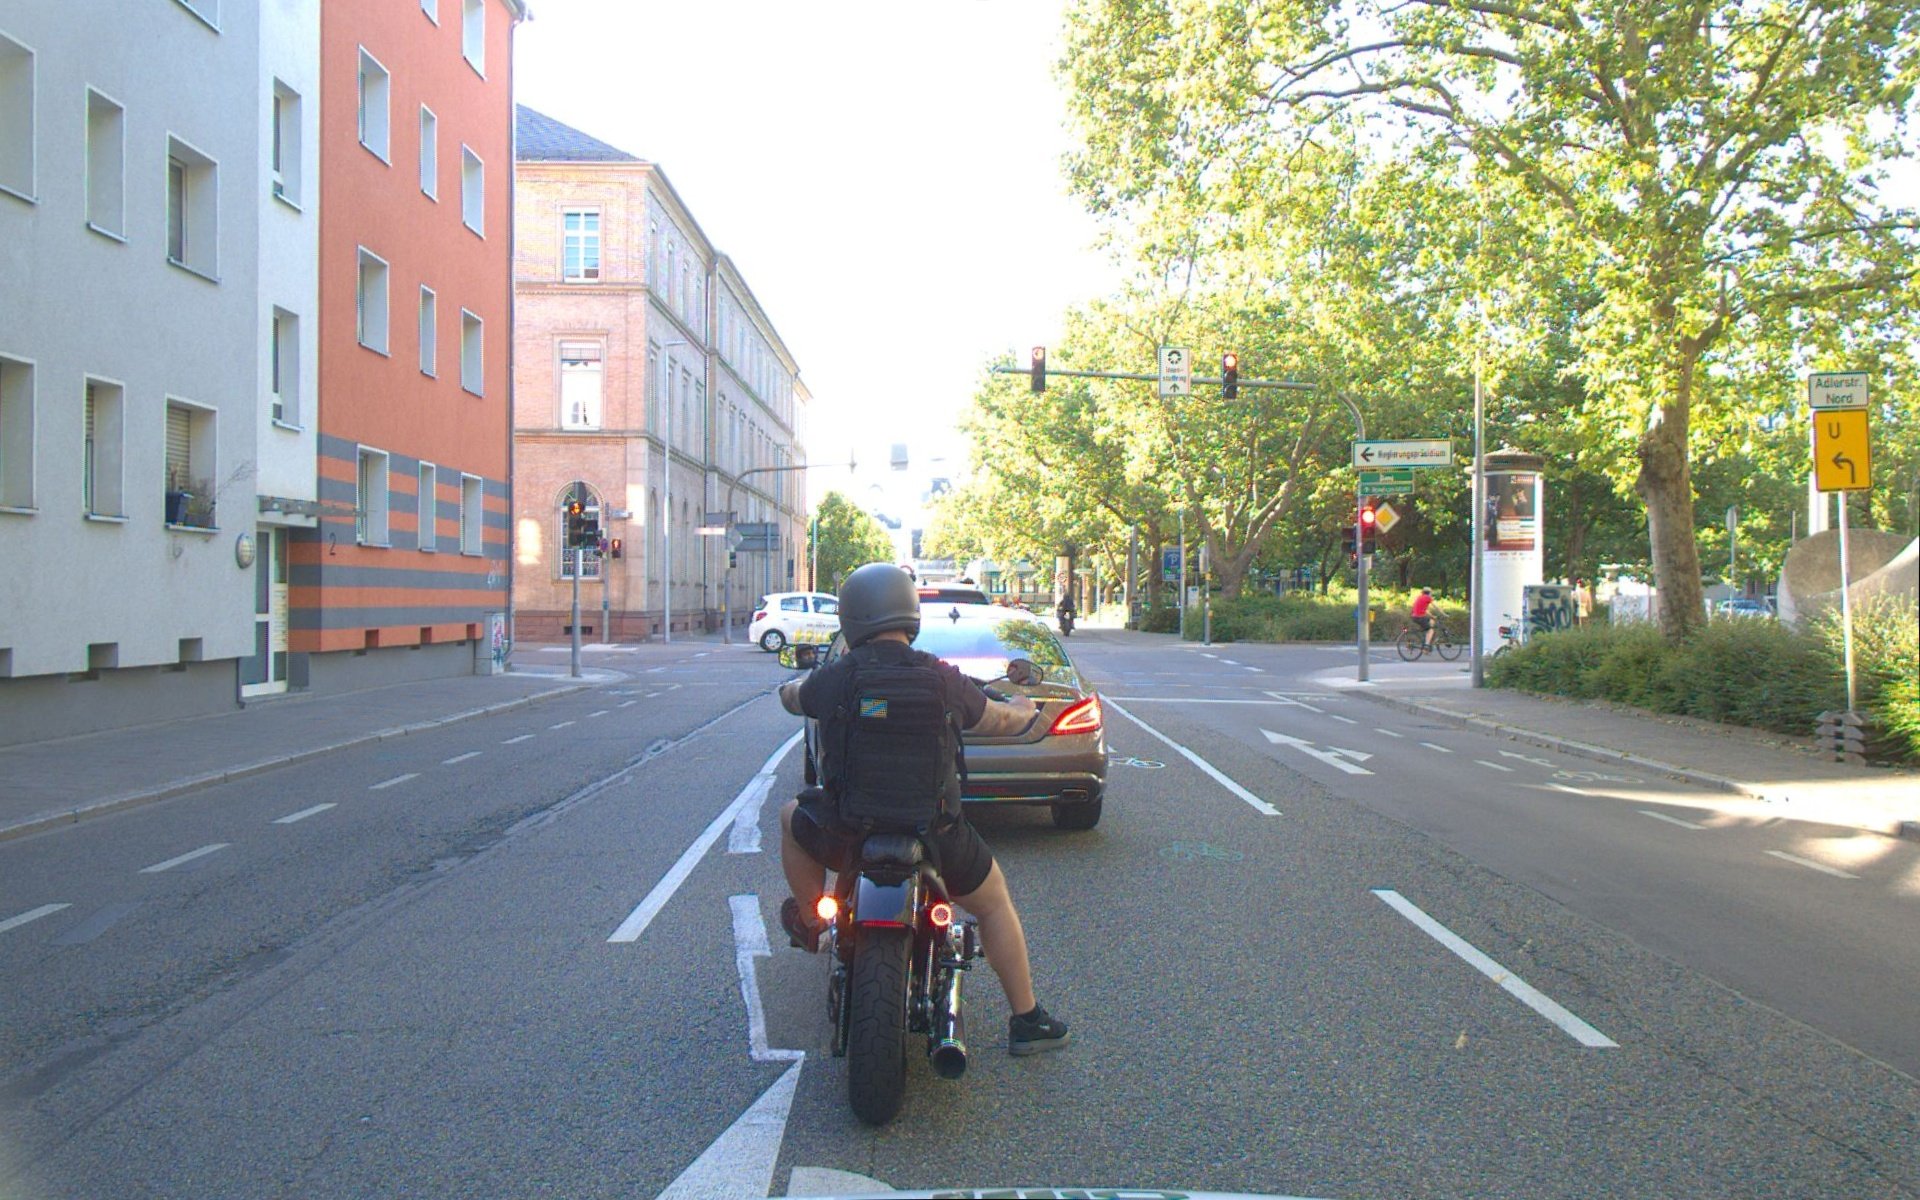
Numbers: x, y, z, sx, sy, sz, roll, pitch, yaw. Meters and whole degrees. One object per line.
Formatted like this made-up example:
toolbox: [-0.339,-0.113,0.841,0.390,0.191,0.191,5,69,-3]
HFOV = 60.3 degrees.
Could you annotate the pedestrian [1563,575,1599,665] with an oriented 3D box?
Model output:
pedestrian: [13.221,0.422,35.241,0.540,1.881,0.593,0,0,0]

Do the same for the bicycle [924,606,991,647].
bicycle: [-0.073,0.734,46.117,1.798,1.124,0.611,0,0,-6]

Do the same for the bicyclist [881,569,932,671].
bicyclist: [-0.924,0.335,28.270,0.691,1.722,0.961,0,0,-14]

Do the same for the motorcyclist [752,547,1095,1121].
motorcyclist: [-0.113,0.662,5.401,0.969,1.625,1.403,0,0,-1]

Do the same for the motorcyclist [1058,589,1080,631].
motorcyclist: [4.482,0.408,68.141,0.821,1.732,1.180,0,0,-1]

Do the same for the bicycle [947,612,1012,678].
bicycle: [0.324,0.788,29.614,0.691,1.123,2.156,-1,0,-12]

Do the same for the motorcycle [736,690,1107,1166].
motorcycle: [-0.118,0.925,5.556,0.969,1.097,2.451,0,0,-1]

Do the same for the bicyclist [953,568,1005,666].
bicyclist: [0.328,0.303,29.608,0.691,1.724,1.044,-1,-1,-13]

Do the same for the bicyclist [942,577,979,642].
bicyclist: [0.015,0.261,46.125,0.956,1.773,0.609,0,0,-6]

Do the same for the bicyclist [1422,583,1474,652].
bicyclist: [11.848,0.417,40.177,1.017,1.642,0.767,0,3,0]

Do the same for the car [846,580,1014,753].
car: [-0.336,0.617,17.759,1.580,1.636,4.327,0,0,-2]

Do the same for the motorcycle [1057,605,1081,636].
motorcycle: [4.483,0.833,68.083,0.821,1.267,2.283,0,0,-1]

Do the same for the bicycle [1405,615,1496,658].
bicycle: [11.905,0.880,40.201,1.965,0.997,0.767,0,3,0]

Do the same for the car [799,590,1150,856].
car: [-0.113,0.682,11.595,1.909,1.498,4.355,0,0,-7]

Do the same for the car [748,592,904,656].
car: [-3.395,0.601,41.704,3.821,1.512,1.859,1,0,-7]

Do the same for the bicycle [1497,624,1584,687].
bicycle: [9.733,0.922,27.733,1.324,1.041,0.363,0,0,0]
